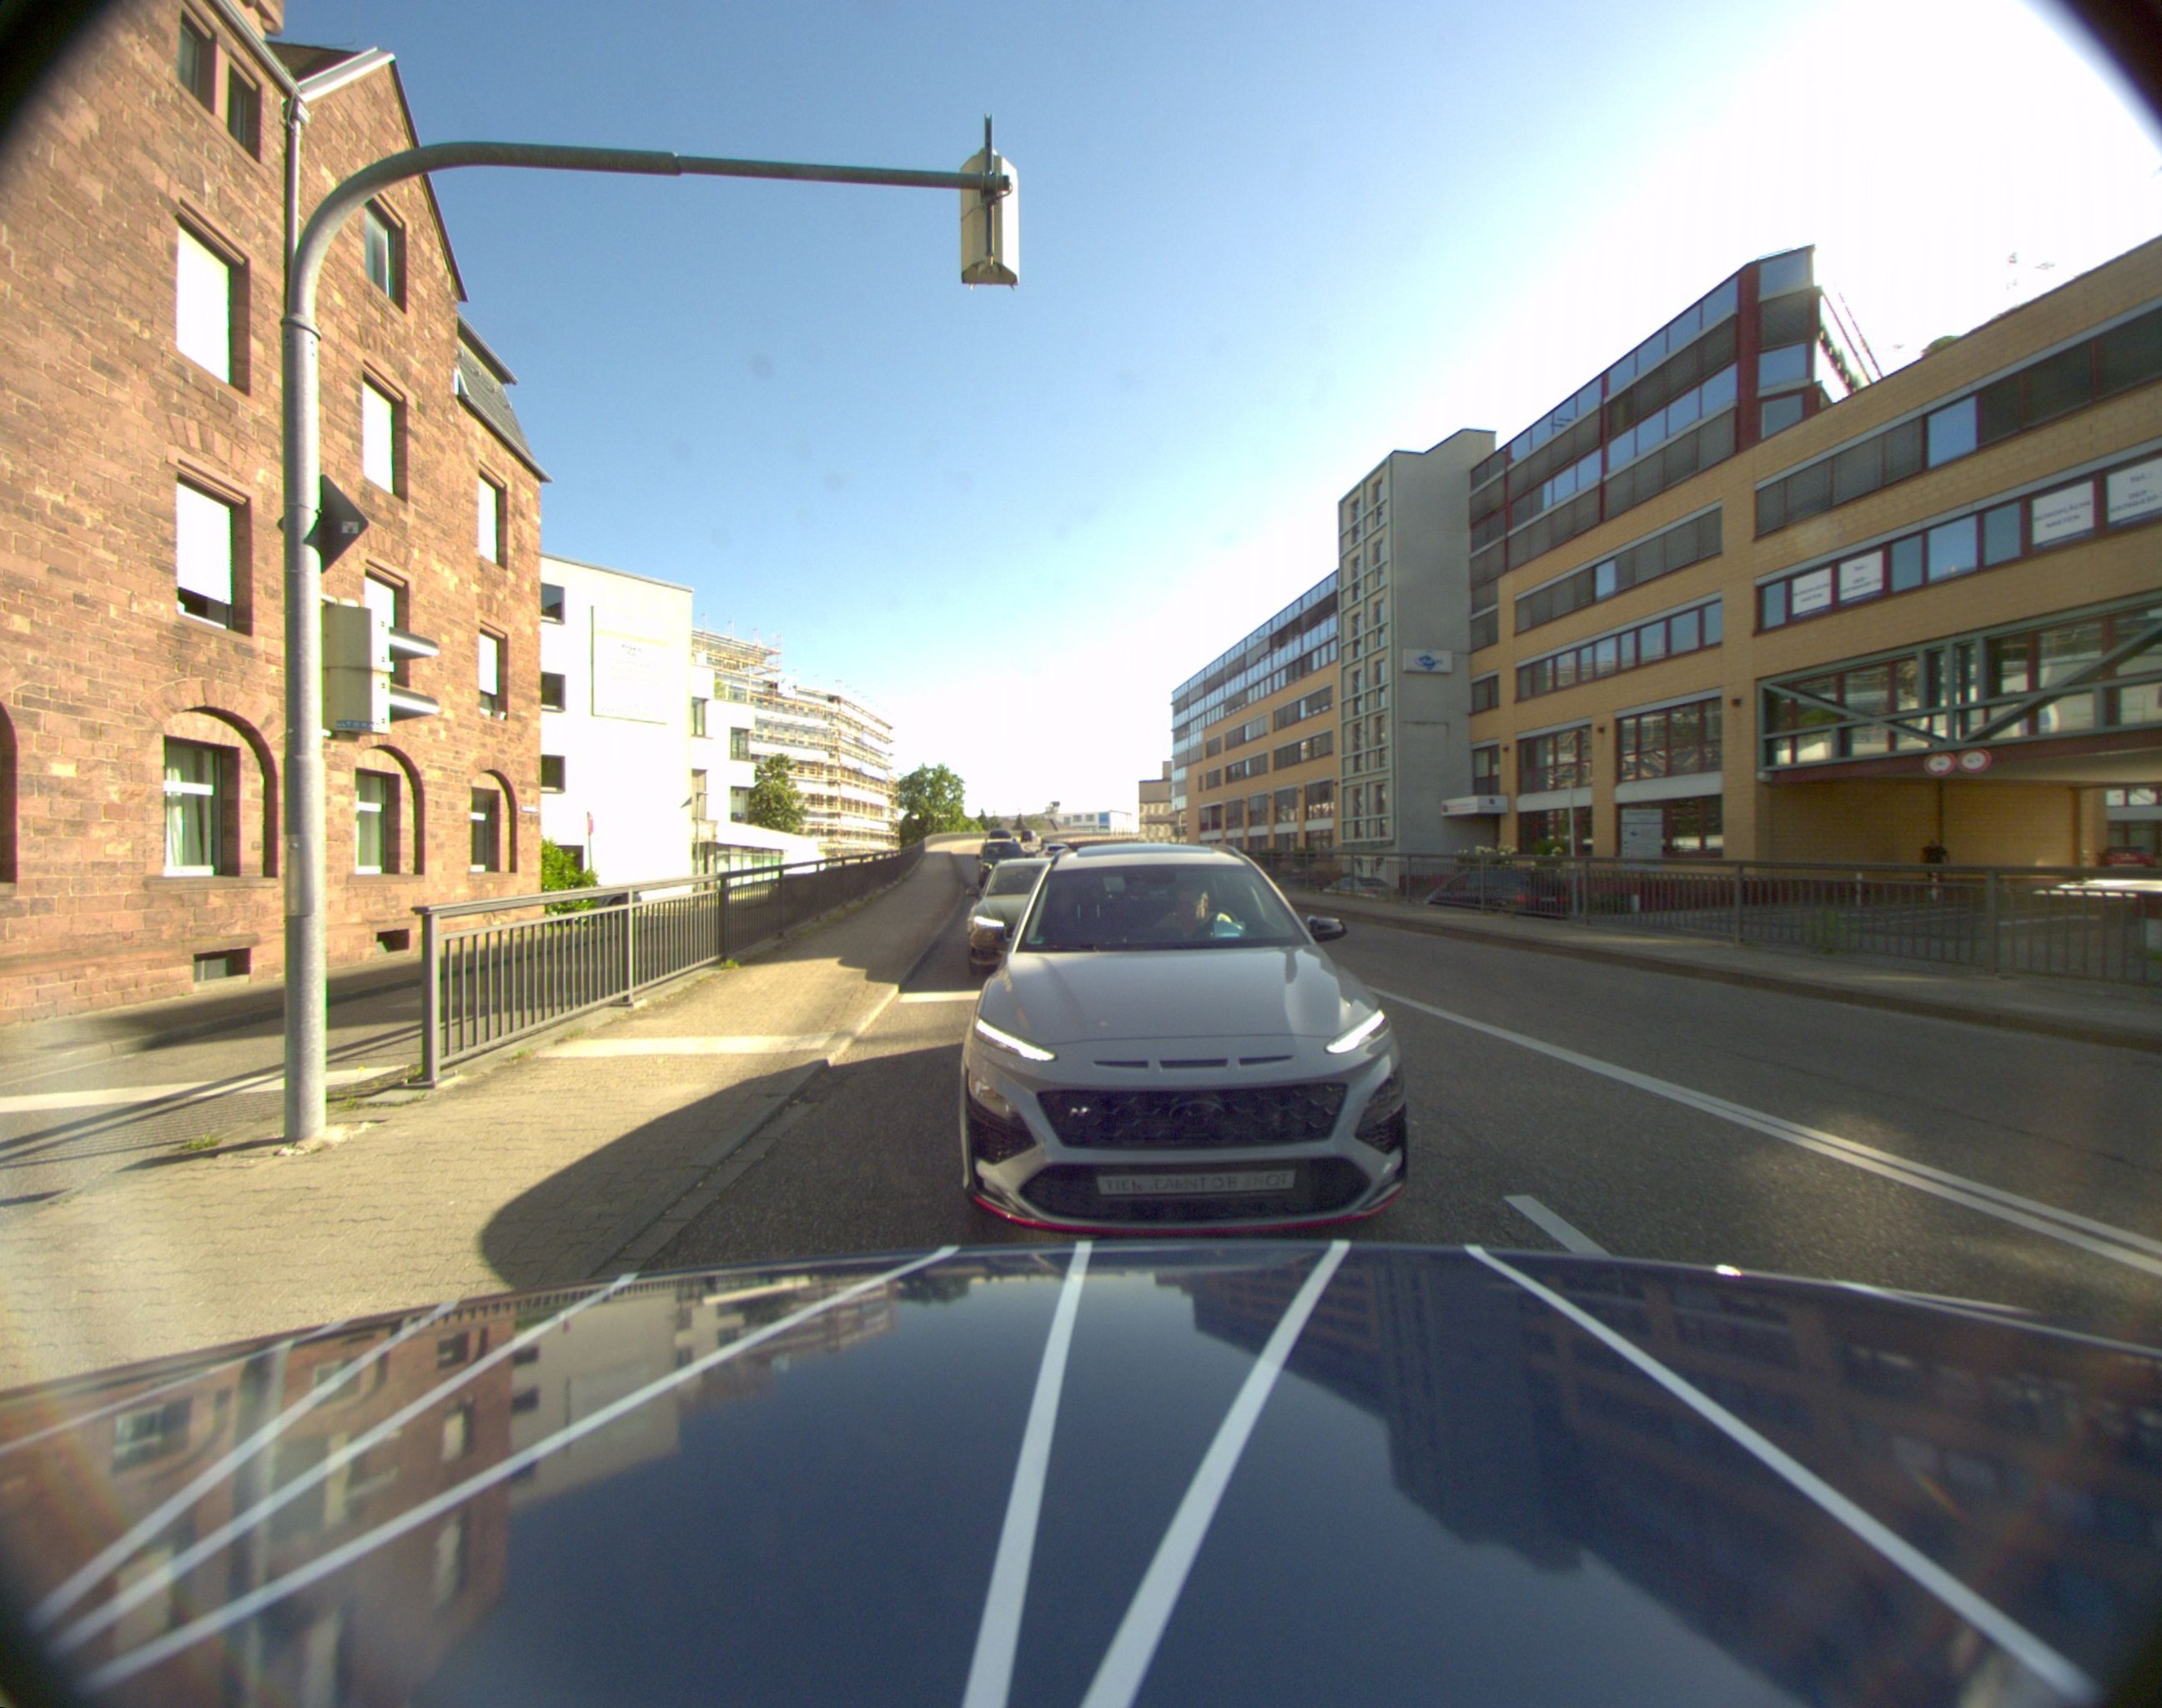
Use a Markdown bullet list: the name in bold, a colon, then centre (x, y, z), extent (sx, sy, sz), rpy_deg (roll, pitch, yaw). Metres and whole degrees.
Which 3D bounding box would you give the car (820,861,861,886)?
- **car**: centre (-15.525, 1.239, 49.171), extent (1.850, 1.526, 3.997), rpy_deg (0, 0, -7)

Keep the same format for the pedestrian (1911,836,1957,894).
- **pedestrian**: centre (27.562, 0.352, 24.543), extent (0.787, 1.833, 0.678), rpy_deg (0, 0, -12)

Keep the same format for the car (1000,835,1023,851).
- **car**: centre (-6.908, -1.057, 75.224), extent (1.826, 1.494, 4.447), rpy_deg (0, 0, -11)

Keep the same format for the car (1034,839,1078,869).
- **car**: centre (-1.574, -0.034, 46.143), extent (1.840, 1.644, 4.621), rpy_deg (0, 2, -12)

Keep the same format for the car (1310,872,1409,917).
- **car**: centre (11.088, 1.560, 30.598), extent (1.826, 1.594, 4.353), rpy_deg (0, 0, -10)

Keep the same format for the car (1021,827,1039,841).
- **car**: centre (-7.821, -3.034, 116.429), extent (1.998, 1.924, 4.854), rpy_deg (0, 0, 4)

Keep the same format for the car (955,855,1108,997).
- **car**: centre (-0.644, 0.829, 10.796), extent (1.721, 1.483, 4.167), rpy_deg (-1, 2, -2)

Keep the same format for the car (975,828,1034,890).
- **car**: centre (-3.153, 0.108, 30.617), extent (1.911, 2.202, 4.592), rpy_deg (-1, 3, -11)

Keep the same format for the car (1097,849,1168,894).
- **car**: centre (1.748, 0.601, 27.027), extent (1.691, 1.448, 3.911), rpy_deg (-1, -1, -8)

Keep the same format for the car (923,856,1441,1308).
- **car**: centre (0.405, 0.839, 4.856), extent (1.849, 1.561, 4.220), rpy_deg (-1, 1, 1)

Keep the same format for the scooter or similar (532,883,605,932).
- **scooter or similar**: centre (-14.270, 1.473, 21.200), extent (1.463, 1.212, 0.784), rpy_deg (-3, 1, -14)

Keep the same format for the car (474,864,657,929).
- **car**: centre (-16.977, 1.302, 25.215), extent (1.823, 1.757, 4.658), rpy_deg (1, 2, 42)

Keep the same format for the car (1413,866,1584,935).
- **car**: centre (12.407, 1.301, 23.016), extent (1.957, 1.747, 4.683), rpy_deg (-1, 0, -11)

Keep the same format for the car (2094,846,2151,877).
- **car**: centre (53.700, 0.383, 39.209), extent (3.159, 1.564, 1.639), rpy_deg (0, -1, -38)

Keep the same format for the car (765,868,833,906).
- **car**: centre (-13.042, 1.493, 35.423), extent (1.850, 1.422, 4.678), rpy_deg (-1, 2, -6)

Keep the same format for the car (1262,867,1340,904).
- **car**: centre (10.288, 1.420, 35.882), extent (1.826, 1.594, 4.353), rpy_deg (0, 0, -10)

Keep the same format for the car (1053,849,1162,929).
- **car**: centre (0.471, 0.709, 17.894), extent (1.850, 1.527, 4.504), rpy_deg (-1, 2, -7)
